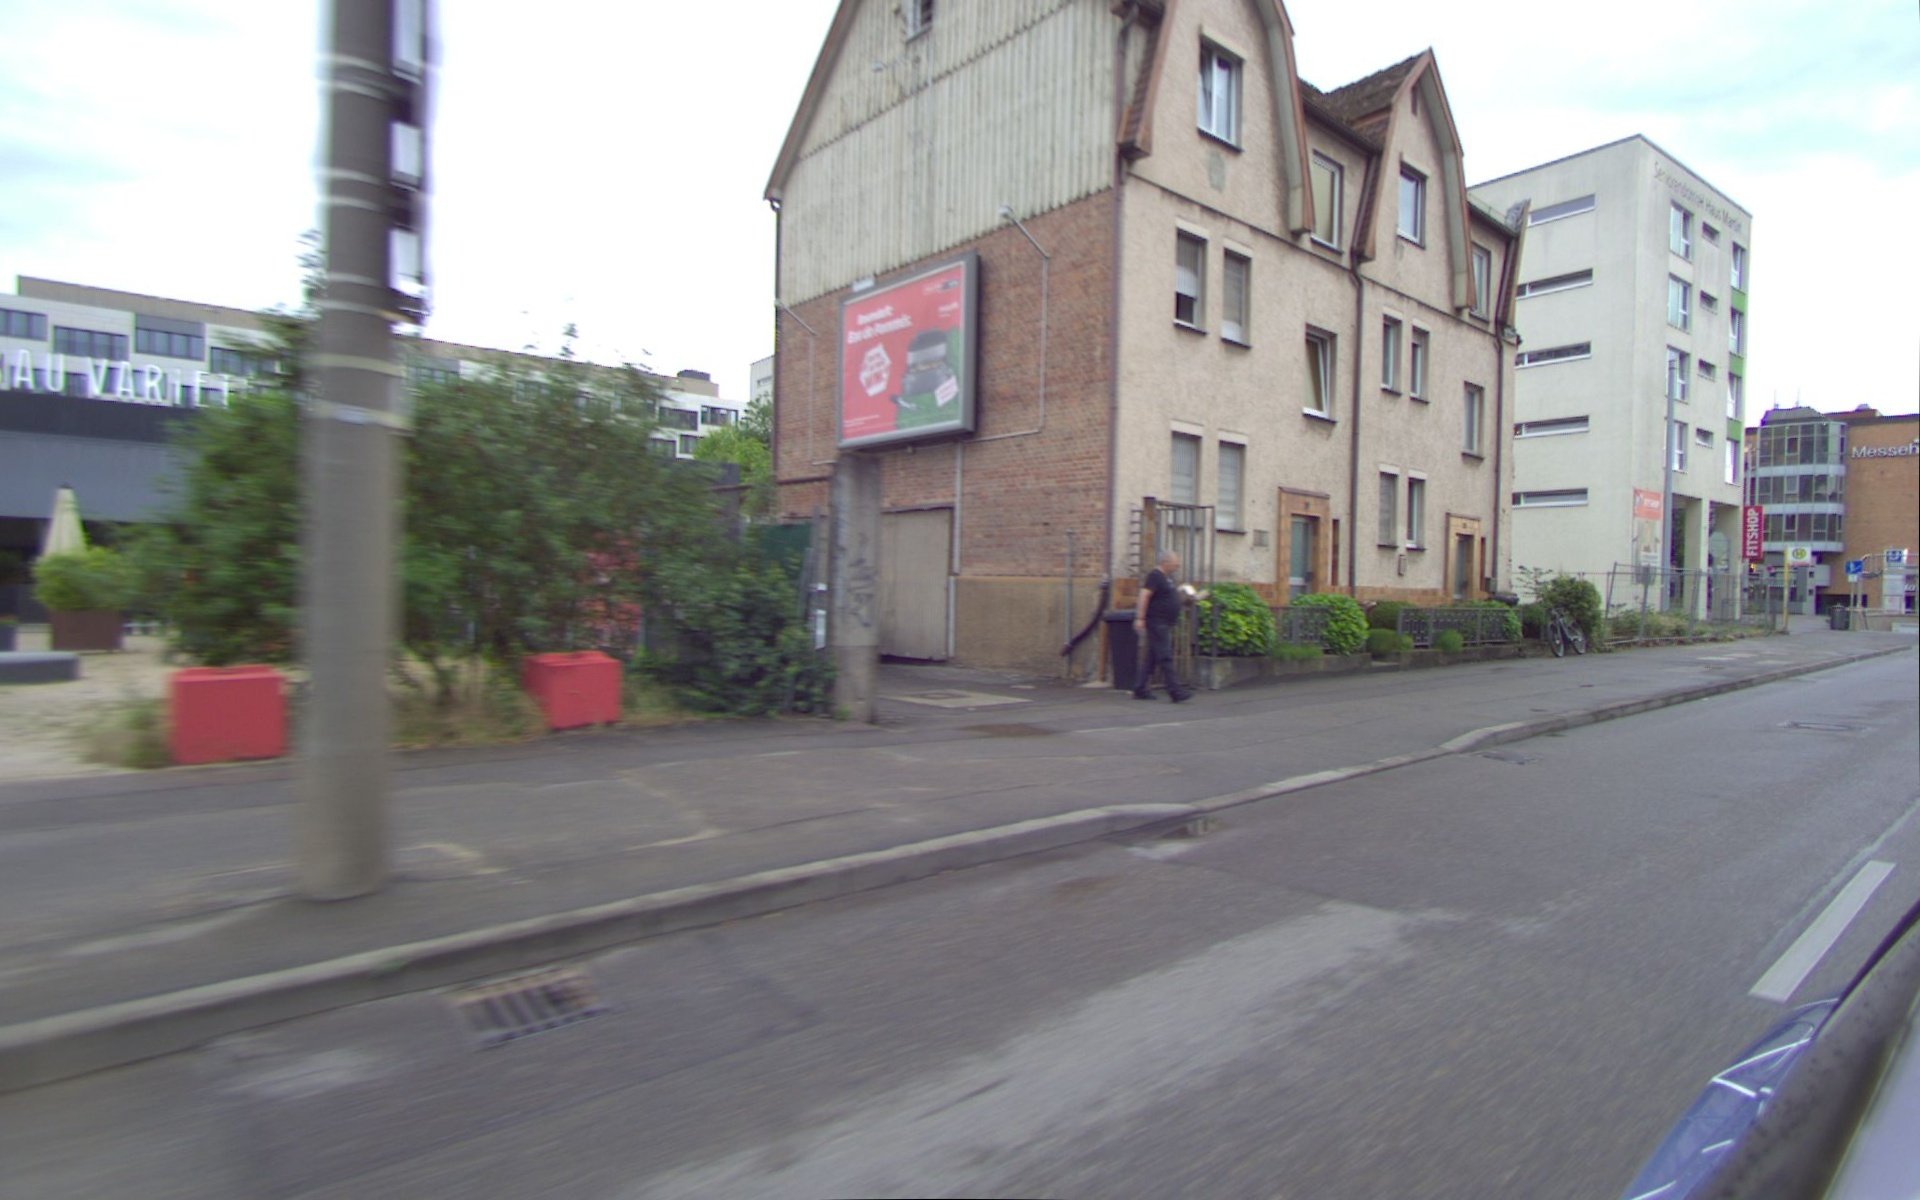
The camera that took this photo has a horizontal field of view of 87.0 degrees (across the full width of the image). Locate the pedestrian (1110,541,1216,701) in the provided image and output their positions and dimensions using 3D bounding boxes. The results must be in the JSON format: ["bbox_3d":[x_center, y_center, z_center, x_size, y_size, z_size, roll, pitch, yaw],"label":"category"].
[{"bbox_3d":[2.380,0.228,11.853,0.909,1.786,0.757,-2,1,39],"label":"pedestrian"}]

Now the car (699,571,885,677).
[{"bbox_3d":[-3.086,0.320,18.016,1.597,1.465,4.000,-3,5,-37],"label":"car"}]
